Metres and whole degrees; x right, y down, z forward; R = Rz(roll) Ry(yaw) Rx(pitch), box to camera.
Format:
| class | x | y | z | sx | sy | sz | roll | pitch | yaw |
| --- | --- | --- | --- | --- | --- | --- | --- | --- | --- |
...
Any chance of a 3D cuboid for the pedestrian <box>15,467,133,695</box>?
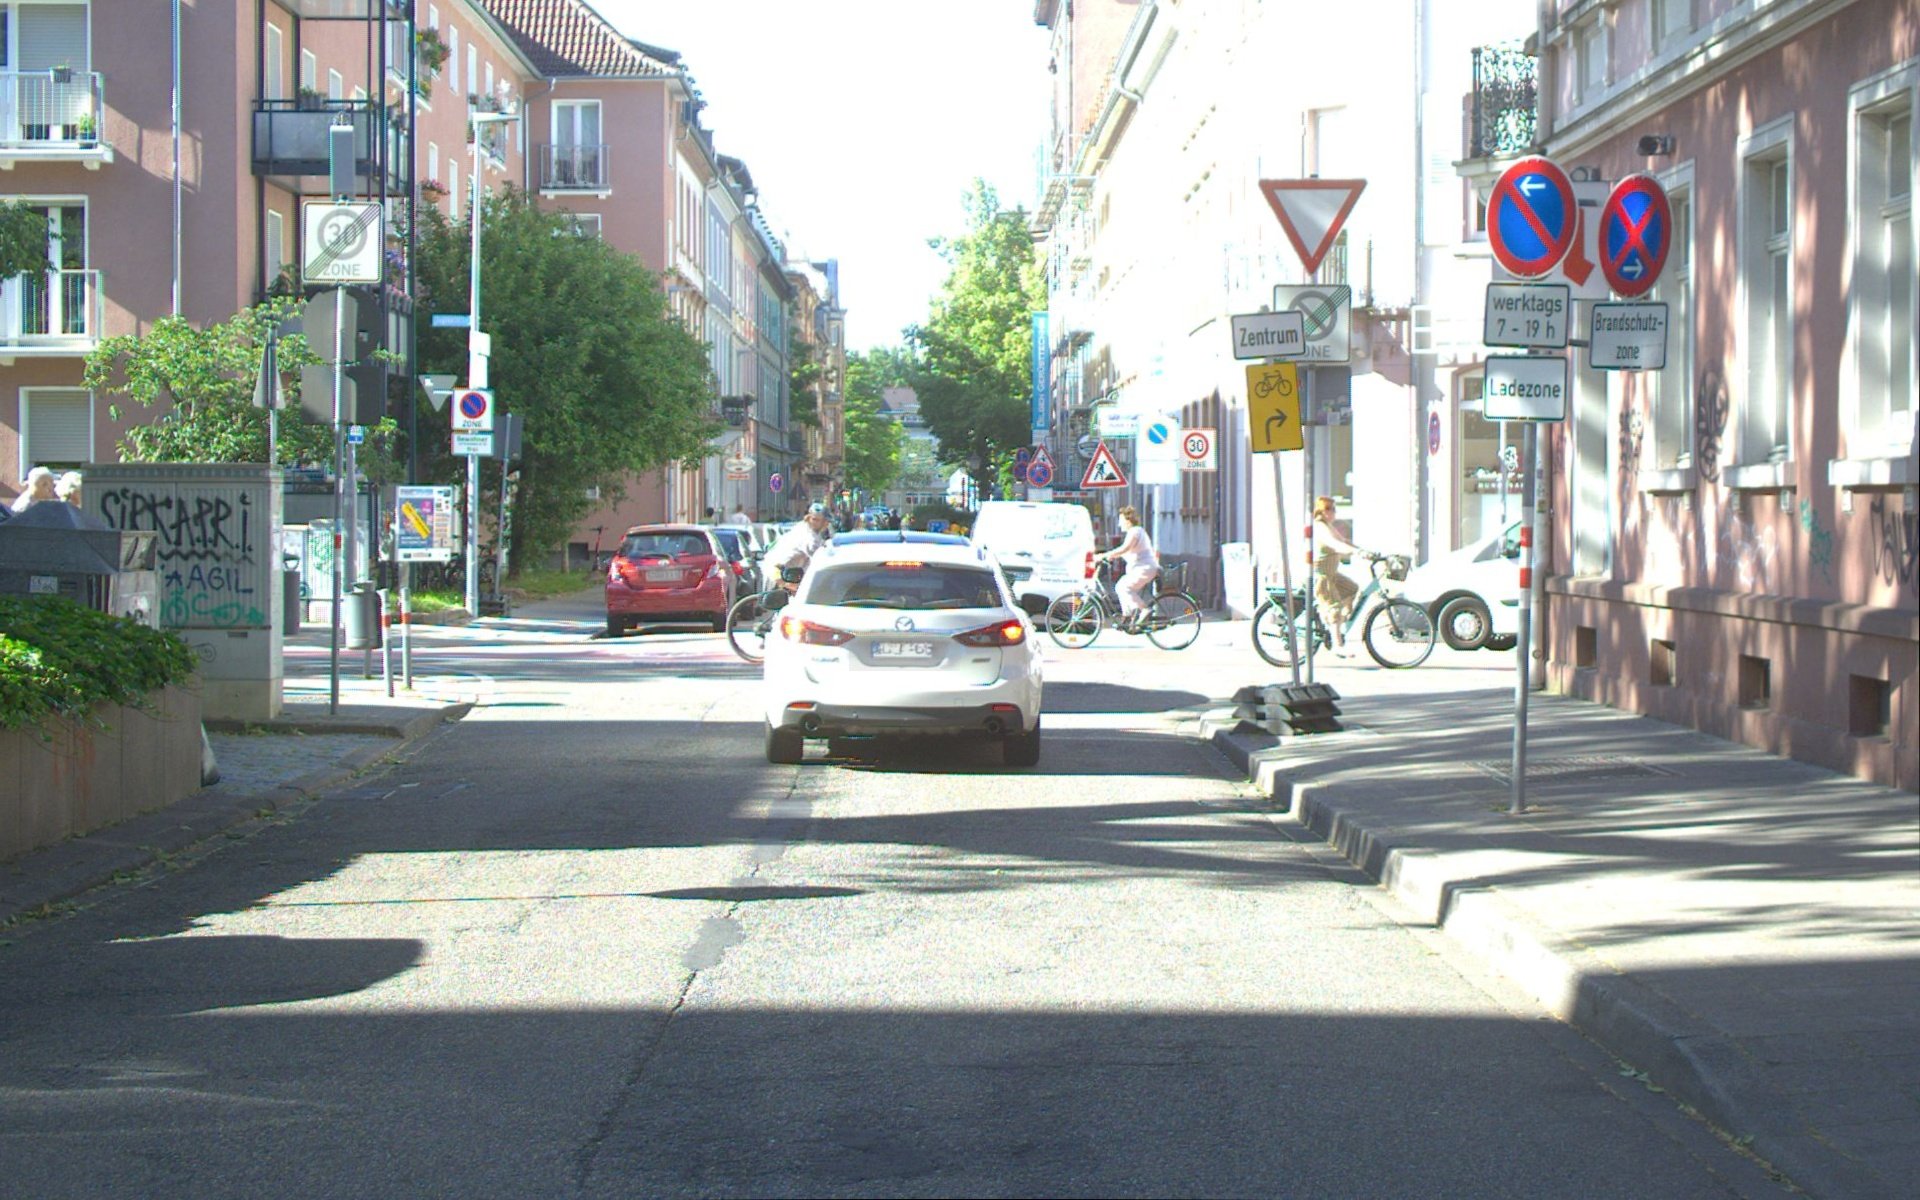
| class | x | y | z | sx | sy | sz | roll | pitch | yaw |
| --- | --- | --- | --- | --- | --- | --- | --- | --- | --- |
| pedestrian | -7.264 | -0.157 | 28.215 | 0.853 | 1.809 | 0.815 | 2 | 0 | -14 |

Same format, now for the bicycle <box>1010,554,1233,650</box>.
| class | x | y | z | sx | sy | sz | roll | pitch | yaw |
| --- | --- | --- | --- | --- | --- | --- | --- | --- | --- |
| bicycle | 1.837 | 0.015 | 39.016 | 2.426 | 1.076 | 0.790 | 0 | 1 | 12 |

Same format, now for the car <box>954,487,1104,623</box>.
| class | x | y | z | sx | sy | sz | roll | pitch | yaw |
| --- | --- | --- | --- | --- | --- | --- | --- | --- | --- |
| car | 0.993 | -0.700 | 51.689 | 1.942 | 1.941 | 4.079 | 1 | 1 | -3 |

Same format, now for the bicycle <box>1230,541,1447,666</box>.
| class | x | y | z | sx | sy | sz | roll | pitch | yaw |
| --- | --- | --- | --- | --- | --- | --- | --- | --- | --- |
| bicycle | 3.834 | 0.030 | 34.932 | 2.163 | 1.250 | 0.833 | 0 | 1 | 5 |

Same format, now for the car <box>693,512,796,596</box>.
| class | x | y | z | sx | sy | sz | roll | pitch | yaw |
| --- | --- | --- | --- | --- | --- | --- | --- | --- | --- |
| car | -4.131 | -0.891 | 66.375 | 1.720 | 1.571 | 3.726 | 0 | 1 | 0 |

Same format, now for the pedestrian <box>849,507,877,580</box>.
| class | x | y | z | sx | sy | sz | roll | pitch | yaw |
| --- | --- | --- | --- | --- | --- | --- | --- | --- | --- |
| pedestrian | -2.380 | -1.381 | 84.194 | 0.647 | 1.791 | 0.639 | 0 | 1 | 1 |

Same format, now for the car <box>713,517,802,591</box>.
| class | x | y | z | sx | sy | sz | roll | pitch | yaw |
| --- | --- | --- | --- | --- | --- | --- | --- | --- | --- |
| car | -4.125 | -0.950 | 70.388 | 1.602 | 1.472 | 3.567 | 0 | 1 | 0 |

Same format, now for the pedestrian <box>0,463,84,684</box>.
| class | x | y | z | sx | sy | sz | roll | pitch | yaw |
| --- | --- | --- | --- | --- | --- | --- | --- | --- | --- |
| pedestrian | -7.966 | -0.233 | 29.158 | 0.966 | 1.832 | 0.682 | 2 | 1 | -15 |

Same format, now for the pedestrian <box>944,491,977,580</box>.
| class | x | y | z | sx | sy | sz | roll | pitch | yaw |
| --- | --- | --- | --- | --- | --- | --- | --- | --- | --- |
| pedestrian | 0.017 | -1.531 | 81.673 | 0.771 | 2.111 | 0.835 | 0 | 1 | 1 |

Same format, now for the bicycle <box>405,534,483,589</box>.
| class | x | y | z | sx | sy | sz | roll | pitch | yaw |
| --- | --- | --- | --- | --- | --- | --- | --- | --- | --- |
| bicycle | -8.980 | -0.672 | 59.769 | 0.603 | 0.929 | 1.915 | -1 | 1 | -33 |

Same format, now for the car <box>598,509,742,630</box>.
| class | x | y | z | sx | sy | sz | roll | pitch | yaw |
| --- | --- | --- | --- | --- | --- | --- | --- | --- | --- |
| car | -4.054 | -0.466 | 48.480 | 1.769 | 1.583 | 3.726 | 0 | 2 | -1 |

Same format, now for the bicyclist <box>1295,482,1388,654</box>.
| class | x | y | z | sx | sy | sz | roll | pitch | yaw |
| --- | --- | --- | --- | --- | --- | --- | --- | --- | --- |
| bicyclist | 3.872 | -0.327 | 34.965 | 0.925 | 1.714 | 0.942 | 0 | 1 | 6 |

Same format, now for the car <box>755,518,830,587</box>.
| class | x | y | z | sx | sy | sz | roll | pitch | yaw |
| --- | --- | --- | --- | --- | --- | --- | --- | --- | --- |
| car | -3.910 | -1.120 | 80.696 | 1.572 | 1.580 | 3.611 | 0 | 1 | 0 |

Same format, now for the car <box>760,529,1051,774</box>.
| class | x | y | z | sx | sy | sz | roll | pitch | yaw |
| --- | --- | --- | --- | --- | --- | --- | --- | --- | --- |
| car | -0.380 | 0.289 | 23.602 | 1.823 | 1.509 | 3.824 | 1 | 1 | -1 |

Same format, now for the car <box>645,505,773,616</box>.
| class | x | y | z | sx | sy | sz | roll | pitch | yaw |
| --- | --- | --- | --- | --- | --- | --- | --- | --- | --- |
| car | -3.909 | -0.639 | 54.076 | 1.720 | 1.677 | 3.726 | 0 | 1 | 0 |

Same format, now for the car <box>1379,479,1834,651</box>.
| class | x | y | z | sx | sy | sz | roll | pitch | yaw |
| --- | --- | --- | --- | --- | --- | --- | --- | --- | --- |
| car | 7.582 | -0.414 | 40.364 | 4.896 | 1.922 | 1.997 | 1 | 0 | 24 |

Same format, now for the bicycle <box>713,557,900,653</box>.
| class | x | y | z | sx | sy | sz | roll | pitch | yaw |
| --- | --- | --- | --- | --- | --- | --- | --- | --- | --- |
| bicycle | -1.598 | 0.046 | 35.777 | 1.927 | 0.983 | 0.663 | 0 | 1 | -3 |

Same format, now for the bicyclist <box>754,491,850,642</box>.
| class | x | y | z | sx | sy | sz | roll | pitch | yaw |
| --- | --- | --- | --- | --- | --- | --- | --- | --- | --- |
| bicyclist | -1.645 | -0.353 | 35.768 | 0.983 | 1.547 | 0.761 | 0 | 1 | -3 |

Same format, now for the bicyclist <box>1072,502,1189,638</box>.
| class | x | y | z | sx | sy | sz | roll | pitch | yaw |
| --- | --- | --- | --- | --- | --- | --- | --- | --- | --- |
| bicyclist | 1.939 | -0.342 | 38.946 | 1.196 | 1.511 | 0.840 | 0 | 1 | 13 |

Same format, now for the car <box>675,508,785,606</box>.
| class | x | y | z | sx | sy | sz | roll | pitch | yaw |
| --- | --- | --- | --- | --- | --- | --- | --- | --- | --- |
| car | -3.957 | -0.753 | 59.590 | 1.635 | 1.650 | 3.785 | 0 | 1 | 0 |
